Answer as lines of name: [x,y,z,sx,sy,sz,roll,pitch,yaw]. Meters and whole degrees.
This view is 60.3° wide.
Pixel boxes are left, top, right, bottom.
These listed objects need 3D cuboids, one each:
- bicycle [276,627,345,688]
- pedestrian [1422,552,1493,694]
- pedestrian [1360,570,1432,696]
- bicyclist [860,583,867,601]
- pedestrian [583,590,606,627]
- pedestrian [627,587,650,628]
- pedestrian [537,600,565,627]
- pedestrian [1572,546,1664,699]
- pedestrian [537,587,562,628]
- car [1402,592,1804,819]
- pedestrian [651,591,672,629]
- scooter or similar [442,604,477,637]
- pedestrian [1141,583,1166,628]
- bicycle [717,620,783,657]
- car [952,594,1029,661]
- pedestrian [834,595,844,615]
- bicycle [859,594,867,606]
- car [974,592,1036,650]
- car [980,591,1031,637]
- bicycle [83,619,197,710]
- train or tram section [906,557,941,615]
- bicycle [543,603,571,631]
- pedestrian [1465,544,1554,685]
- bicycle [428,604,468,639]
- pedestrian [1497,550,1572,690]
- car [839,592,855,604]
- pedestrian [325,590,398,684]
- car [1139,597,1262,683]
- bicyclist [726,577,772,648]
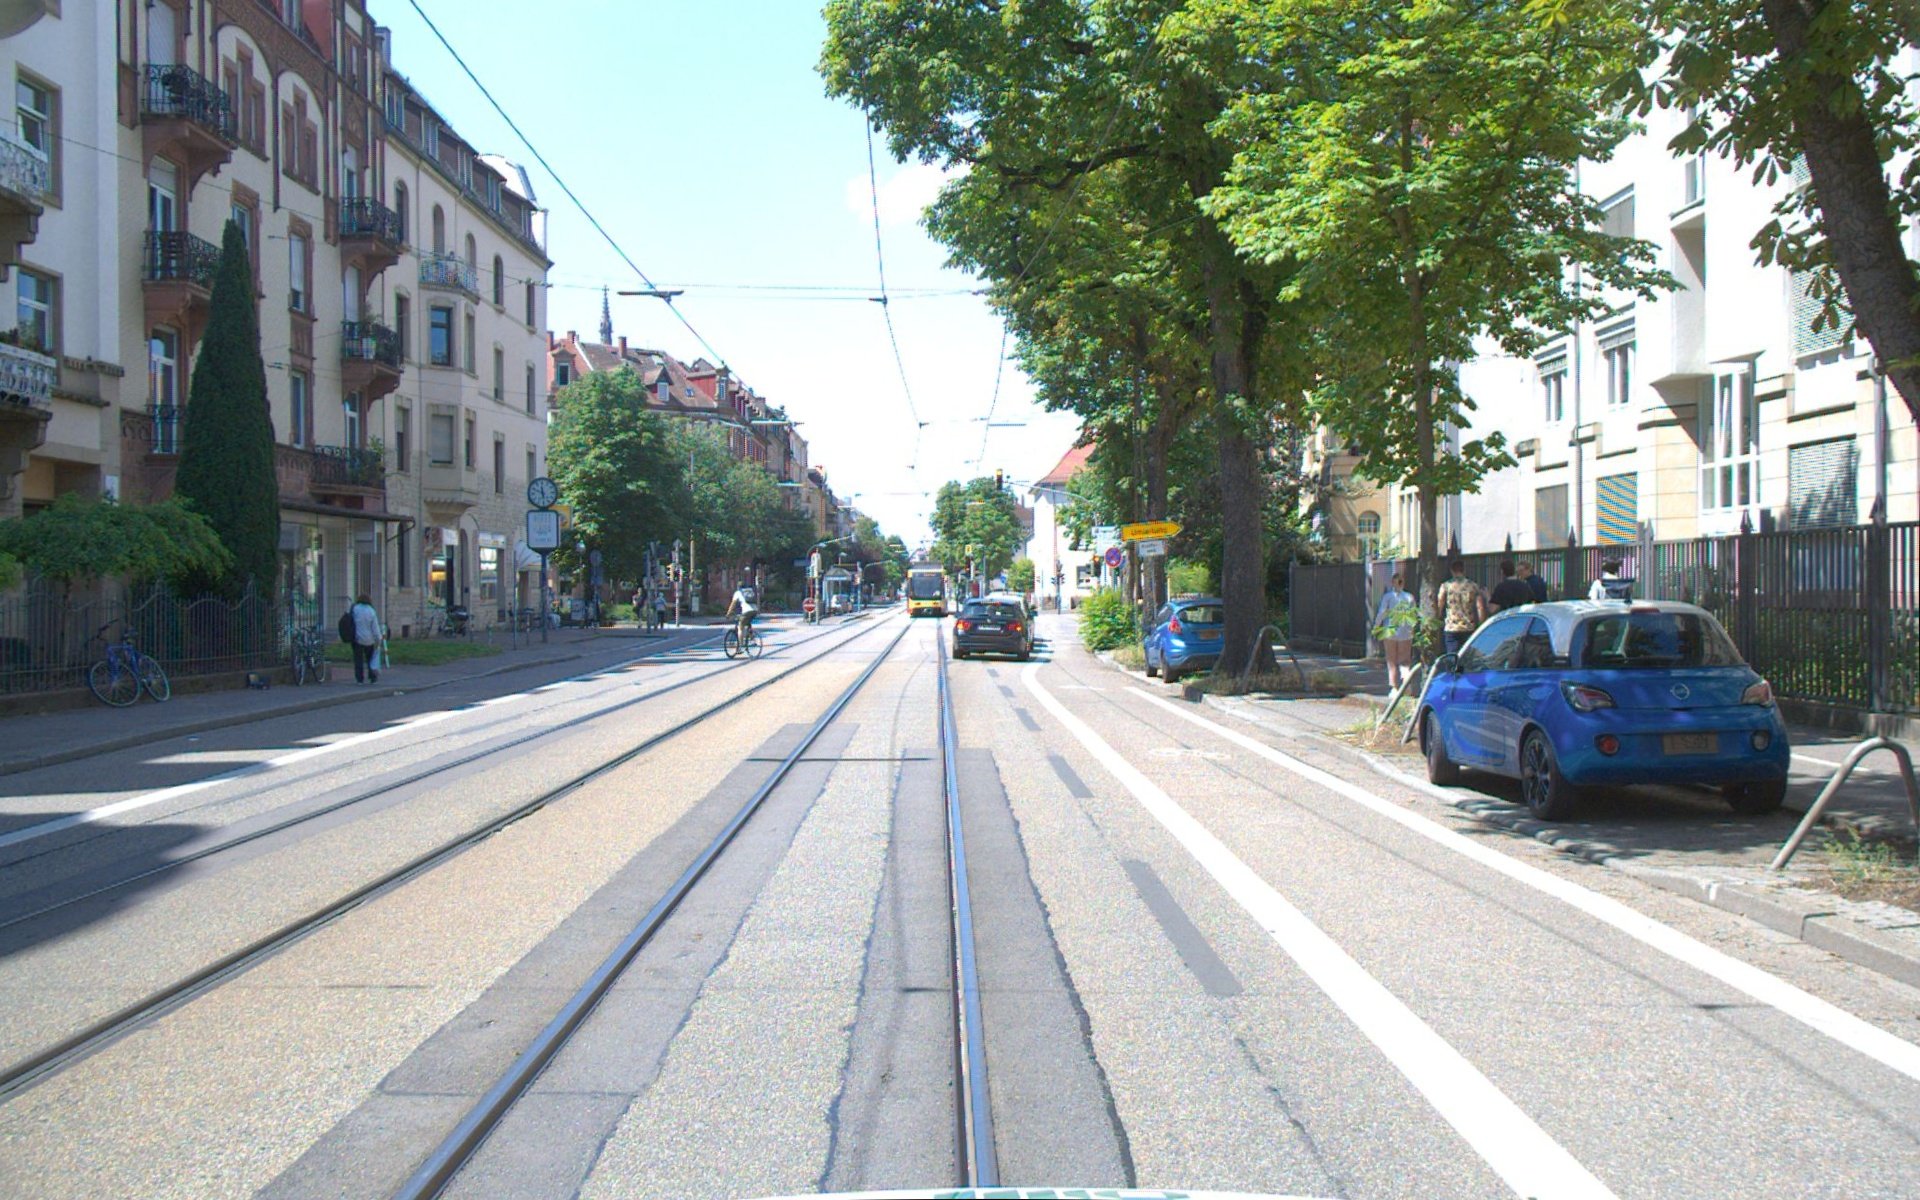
bicycle: [-10.874,0.947,27.751,0.402,0.977,1.841,3,-1,-1]
pedestrian: [6.496,0.288,21.619,0.690,1.807,0.948,-1,0,5]
pedestrian: [5.953,0.440,22.625,0.750,1.680,0.974,-1,0,2]
bicyclist: [-10.007,-0.808,171.025,0.708,1.903,0.825,-1,0,-1]
pedestrian: [-16.740,0.385,75.801,0.843,1.664,1.026,-1,0,-2]
pedestrian: [-15.451,0.349,79.518,0.882,1.924,1.164,0,0,-2]
pedestrian: [-16.796,0.551,67.970,0.897,1.096,0.883,-1,0,0]
pedestrian: [8.126,0.266,20.468,0.670,1.829,1.084,-1,0,-1]
pedestrian: [-18.106,0.320,72.942,0.770,1.763,0.848,1,0,-45]
car: [4.740,0.692,12.733,1.657,1.478,3.473,-1,0,-2]
pedestrian: [-13.903,0.474,77.076,0.899,1.753,0.838,-1,0,-9]
scooter or similar: [-16.684,0.679,55.126,0.690,1.062,1.192,1,-1,-41]
pedestrian: [7.259,0.193,62.190,0.839,1.674,0.837,-1,0,1]
bicycle: [-5.025,0.910,39.493,0.747,0.832,1.794,0,0,-40]
car: [0.731,0.603,39.523,1.687,1.433,4.565,2,0,1]
pedestrian: [-7.594,0.317,103.466,0.602,1.264,0.627,-1,0,-7]
bicycle: [-10.018,-0.022,170.984,0.714,1.121,1.715,1,2,-1]
car: [1.262,0.557,46.364,1.650,1.510,3.685,-1,0,1]
car: [1.630,0.477,58.325,1.656,1.540,3.823,1,0,3]
bicycle: [-10.765,0.824,21.770,0.595,1.083,1.771,3,0,-1]
train or tram section: [-2.341,-0.914,107.378,2.146,3.543,8.843,-1,0,-1]
bicycle: [-17.424,0.736,71.547,0.539,1.148,1.660,0,-2,-37]
pedestrian: [7.154,0.180,21.575,0.771,1.792,1.052,-1,0,-1]
bicycle: [-16.457,0.697,53.178,0.362,1.084,1.464,0,-1,22]
pedestrian: [7.805,0.263,22.493,0.647,1.843,0.977,-1,0,-1]
car: [-15.590,-0.327,227.934,1.754,1.614,3.991,1,0,-9]
pedestrian: [-10.284,0.620,28.434,0.882,1.569,0.984,-1,0,-1]
car: [4.436,0.698,31.002,1.643,1.469,3.720,-1,0,-2]
bicyclist: [-5.041,0.297,39.570,0.752,1.692,0.818,1,-1,-42]
